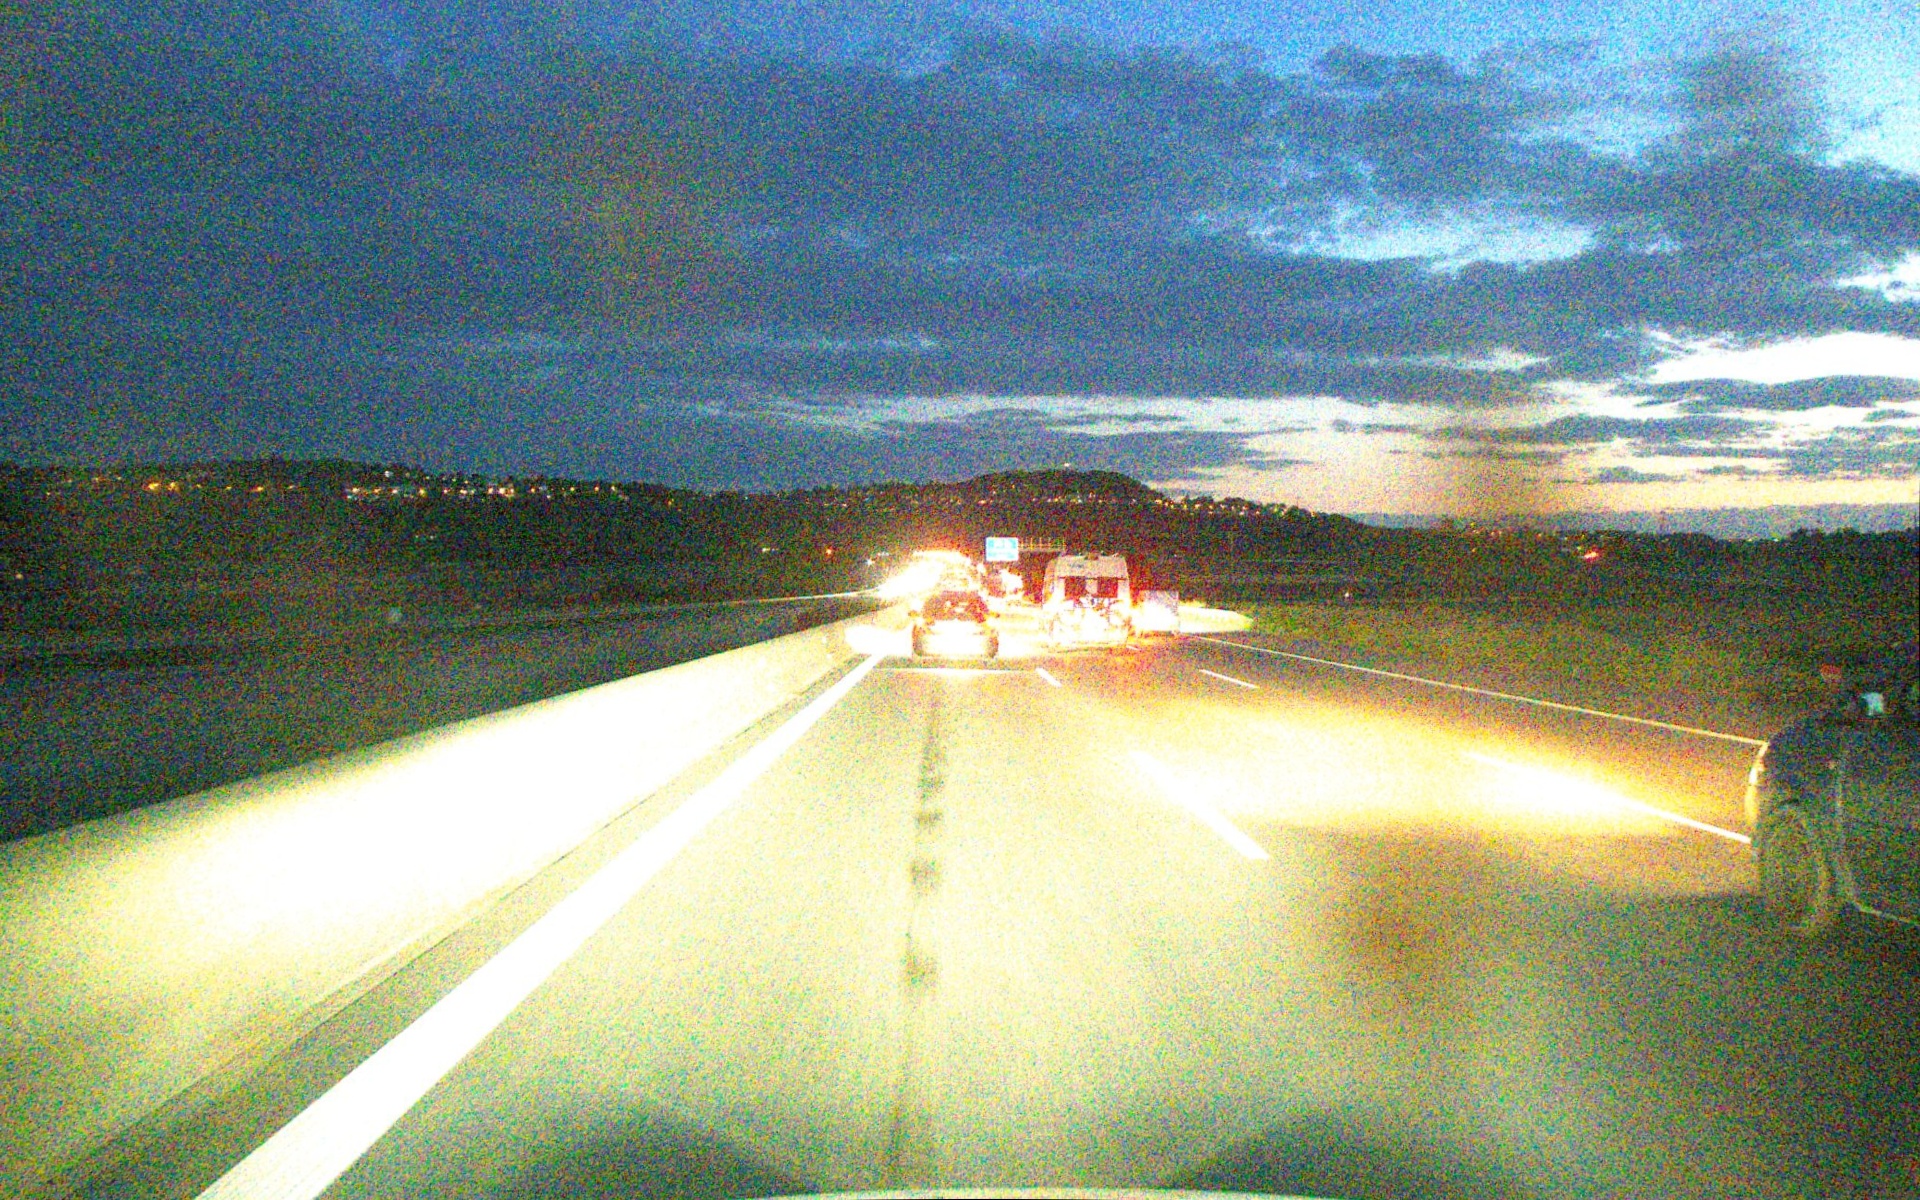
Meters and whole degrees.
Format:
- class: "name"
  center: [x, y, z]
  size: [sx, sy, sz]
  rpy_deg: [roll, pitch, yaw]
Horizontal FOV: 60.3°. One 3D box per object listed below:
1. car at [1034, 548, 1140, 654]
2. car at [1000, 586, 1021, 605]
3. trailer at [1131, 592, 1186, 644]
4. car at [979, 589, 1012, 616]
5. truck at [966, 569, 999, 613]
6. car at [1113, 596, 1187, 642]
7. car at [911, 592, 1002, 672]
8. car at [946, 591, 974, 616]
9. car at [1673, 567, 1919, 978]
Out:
- class: "car"
  center: [3.243, -0.011, 43.420]
  size: [2.303, 2.579, 5.701]
  rpy_deg: [0, 1, 0]
- class: "car"
  center: [5.759, -0.526, 189.091]
  size: [2.303, 2.112, 4.723]
  rpy_deg: [0, 1, 0]
- class: "trailer"
  center: [6.764, 0.601, 56.687]
  size: [1.534, 1.723, 2.821]
  rpy_deg: [0, 0, 0]
- class: "car"
  center: [2.572, 0.160, 120.279]
  size: [2.303, 1.947, 4.722]
  rpy_deg: [0, 0, 0]
- class: "truck"
  center: [2.125, -0.845, 157.328]
  size: [2.725, 4.024, 7.990]
  rpy_deg: [0, 0, -2]
- class: "car"
  center: [6.886, 0.665, 60.363]
  size: [2.118, 1.591, 4.722]
  rpy_deg: [0, 0, 0]
- class: "car"
  center: [-0.079, 0.618, 34.115]
  size: [1.757, 1.494, 3.773]
  rpy_deg: [1, 1, 0]
- class: "car"
  center: [-0.012, 0.181, 101.159]
  size: [1.709, 1.465, 4.367]
  rpy_deg: [0, 1, 0]
- class: "car"
  center: [4.598, 0.682, 6.464]
  size: [1.613, 1.624, 4.509]
  rpy_deg: [0, 0, -1]
